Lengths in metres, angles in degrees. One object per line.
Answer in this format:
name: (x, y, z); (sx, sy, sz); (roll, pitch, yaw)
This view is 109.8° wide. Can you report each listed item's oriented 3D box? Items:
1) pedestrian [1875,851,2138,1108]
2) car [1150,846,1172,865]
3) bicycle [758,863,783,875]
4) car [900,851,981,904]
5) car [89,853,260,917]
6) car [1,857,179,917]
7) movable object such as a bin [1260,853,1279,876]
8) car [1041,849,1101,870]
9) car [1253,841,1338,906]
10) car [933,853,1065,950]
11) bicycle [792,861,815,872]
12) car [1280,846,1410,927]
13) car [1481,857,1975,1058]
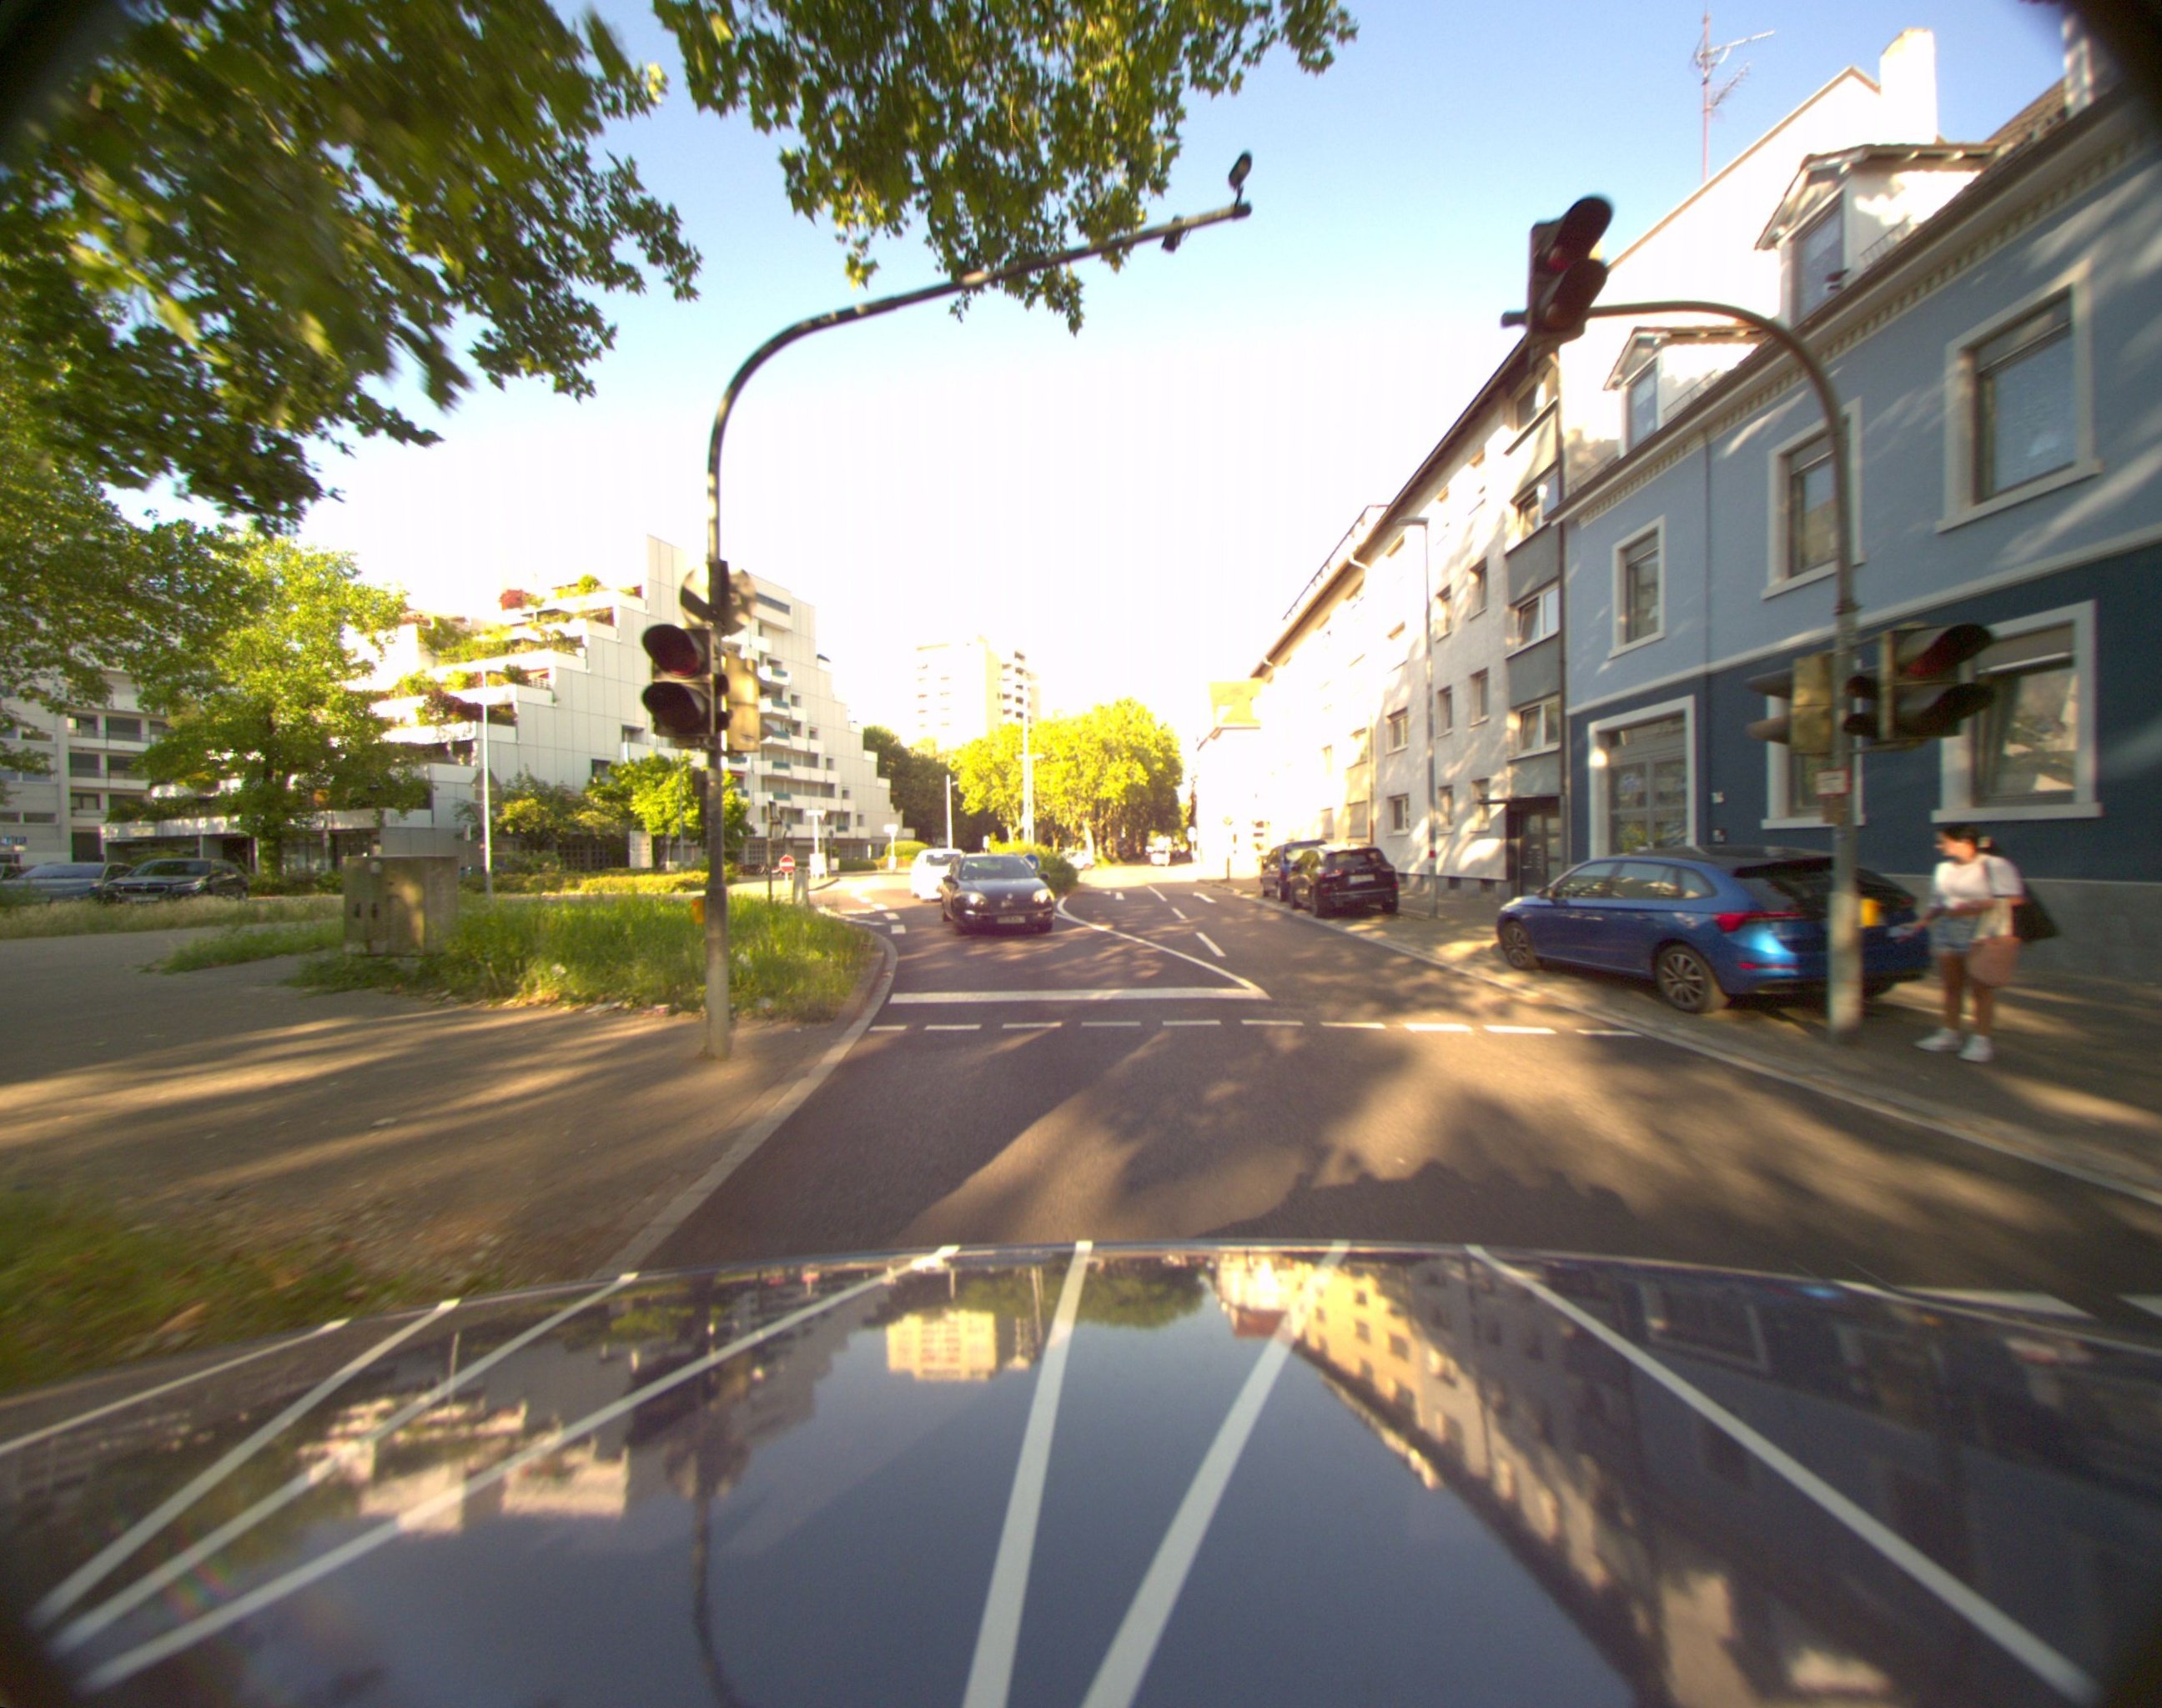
pedestrian: (6.109, 0.765, 5.083); (0.864, 1.561, 0.707); (0, 1, 19)
car: (7.716, 0.162, 73.685); (1.898, 1.782, 4.000); (0, 1, 3)
bicycle: (-22.376, 1.056, 54.755); (0.463, 0.833, 1.704); (0, 1, 36)
car: (-4.098, 0.644, 22.646); (1.654, 1.445, 3.534); (-1, 0, 1)
car: (-25.820, 0.906, 21.877); (1.942, 1.649, 4.467); (2, -3, -34)
car: (-28.753, 0.975, 22.261); (1.831, 1.577, 4.359); (2, -3, -34)
movable object such as a bin: (10.583, 0.575, 42.707); (1.033, 1.278, 1.063); (0, 1, 13)
car: (-0.764, 0.408, 56.018); (4.205, 1.502, 1.799); (-1, 1, -8)
car: (6.643, 0.548, 23.960); (1.668, 1.808, 4.005); (-2, 1, 3)
car: (-1.786, 0.794, 14.971); (1.847, 1.536, 4.518); (-3, 1, -15)
bicycle: (-20.576, 0.956, 56.336); (1.578, 0.780, 0.463); (-1, 1, -22)
car: (6.243, 0.679, 18.533); (1.910, 1.663, 4.494); (-2, 1, 5)
car: (6.272, 0.830, 8.171); (1.654, 1.478, 4.262); (-2, 1, 0)
